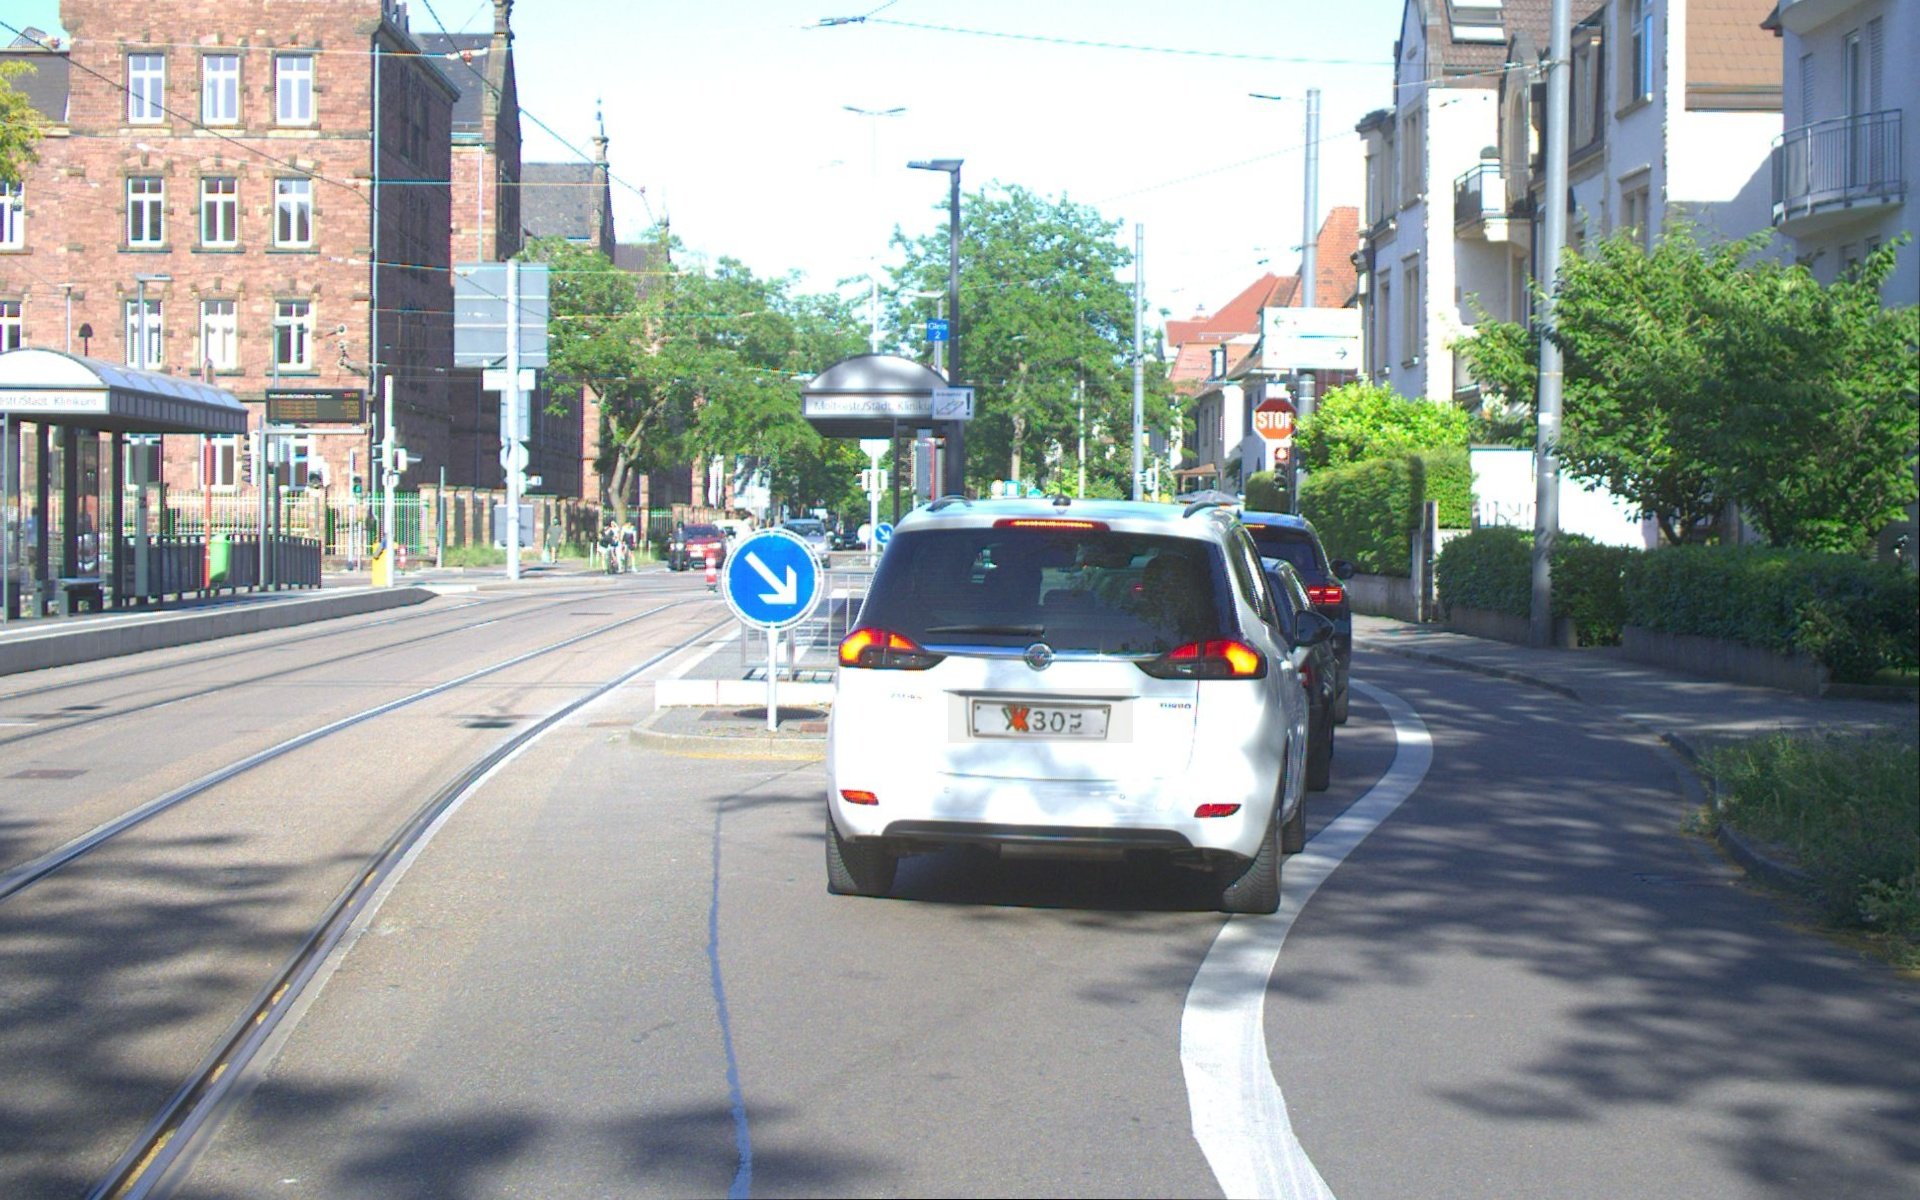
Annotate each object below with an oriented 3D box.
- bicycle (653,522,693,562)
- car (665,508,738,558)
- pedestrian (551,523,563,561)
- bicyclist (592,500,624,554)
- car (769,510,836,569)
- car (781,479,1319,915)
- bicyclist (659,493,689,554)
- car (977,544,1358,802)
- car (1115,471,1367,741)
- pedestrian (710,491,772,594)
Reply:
[{"bbox_3d":[-9.436,-1.902,113.194,1.148,1.292,2.861,1,1,-2],"label":"bicycle"},{"bbox_3d":[-9.101,-2.384,121.420,1.994,1.716,4.000,1,1,4],"label":"car"},{"bbox_3d":[-15.052,-2.173,128.330,0.361,1.433,0.549,1,1,2],"label":"pedestrian"},{"bbox_3d":[-11.324,-2.348,110.663,0.943,1.728,0.861,1,1,-1],"label":"bicyclist"},{"bbox_3d":[-5.240,-2.017,114.788,1.993,1.907,4.000,1,1,1],"label":"car"},{"bbox_3d":[0.546,0.380,14.946,1.893,1.605,4.227,1,-1,8],"label":"car"},{"bbox_3d":[-9.399,-2.519,113.178,0.950,2.007,0.823,1,1,-3],"label":"bicyclist"},{"bbox_3d":[1.402,0.379,21.582,1.994,1.437,3.999,0,1,9],"label":"car"},{"bbox_3d":[2.331,0.001,27.685,1.709,2.007,3.905,0,1,9],"label":"car"},{"bbox_3d":[-4.351,-1.149,68.457,1.155,2.006,1.120,-1,2,-1],"label":"pedestrian"}]
